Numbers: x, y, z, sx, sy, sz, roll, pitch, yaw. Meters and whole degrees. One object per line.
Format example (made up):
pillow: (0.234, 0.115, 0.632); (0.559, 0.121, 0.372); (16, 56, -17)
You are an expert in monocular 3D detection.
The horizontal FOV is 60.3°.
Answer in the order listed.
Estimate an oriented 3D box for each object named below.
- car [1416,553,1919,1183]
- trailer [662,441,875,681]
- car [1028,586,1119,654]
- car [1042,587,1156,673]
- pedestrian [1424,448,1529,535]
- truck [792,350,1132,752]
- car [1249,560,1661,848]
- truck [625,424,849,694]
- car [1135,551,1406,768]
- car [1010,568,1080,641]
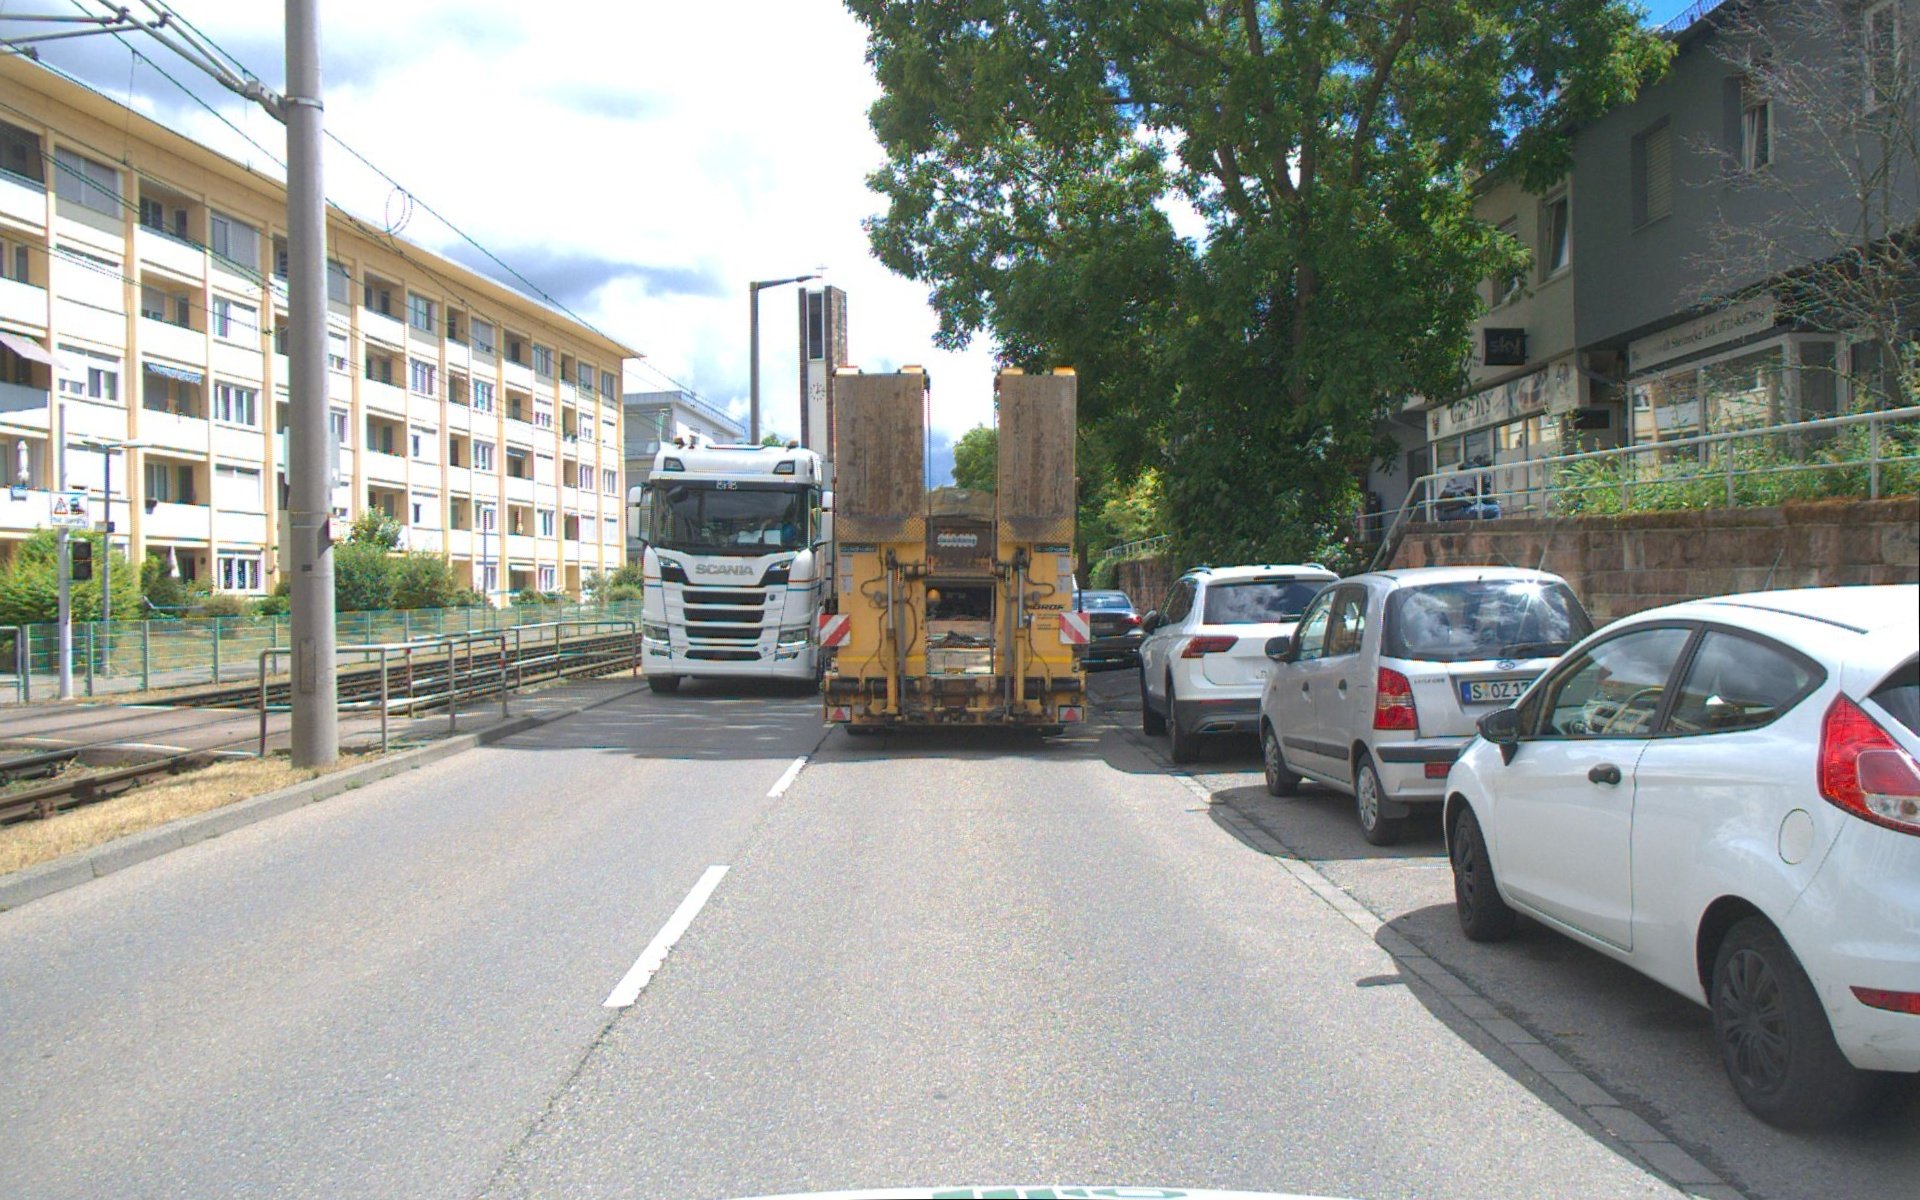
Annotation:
car: (2.995, 0.613, 5.914); (1.611, 1.516, 3.821); (-1, 1, -1)
trailer: (-3.277, -0.680, 32.107); (2.643, 3.643, 13.674); (0, 1, -1)
car: (2.581, 0.425, 38.363); (1.656, 1.430, 4.067); (-2, 1, -2)
car: (2.544, 0.518, 31.229); (1.798, 1.430, 4.414); (-2, 1, 1)
pedestrian: (4.989, -1.044, 16.020); (0.779, 0.804, 0.705); (-1, 1, -2)
truck: (-0.032, -0.532, 21.289); (3.060, 3.626, 12.458); (-1, 1, -1)
car: (3.061, 0.551, 10.926); (1.549, 1.579, 3.473); (-1, 1, -3)
truck: (-3.233, -0.593, 25.523); (2.643, 3.643, 6.144); (0, 1, -1)
car: (2.756, 0.454, 15.680); (1.786, 1.711, 4.577); (-1, 1, 1)
car: (2.470, 0.092, 48.961); (1.763, 2.002, 4.589); (-2, 1, 0)
